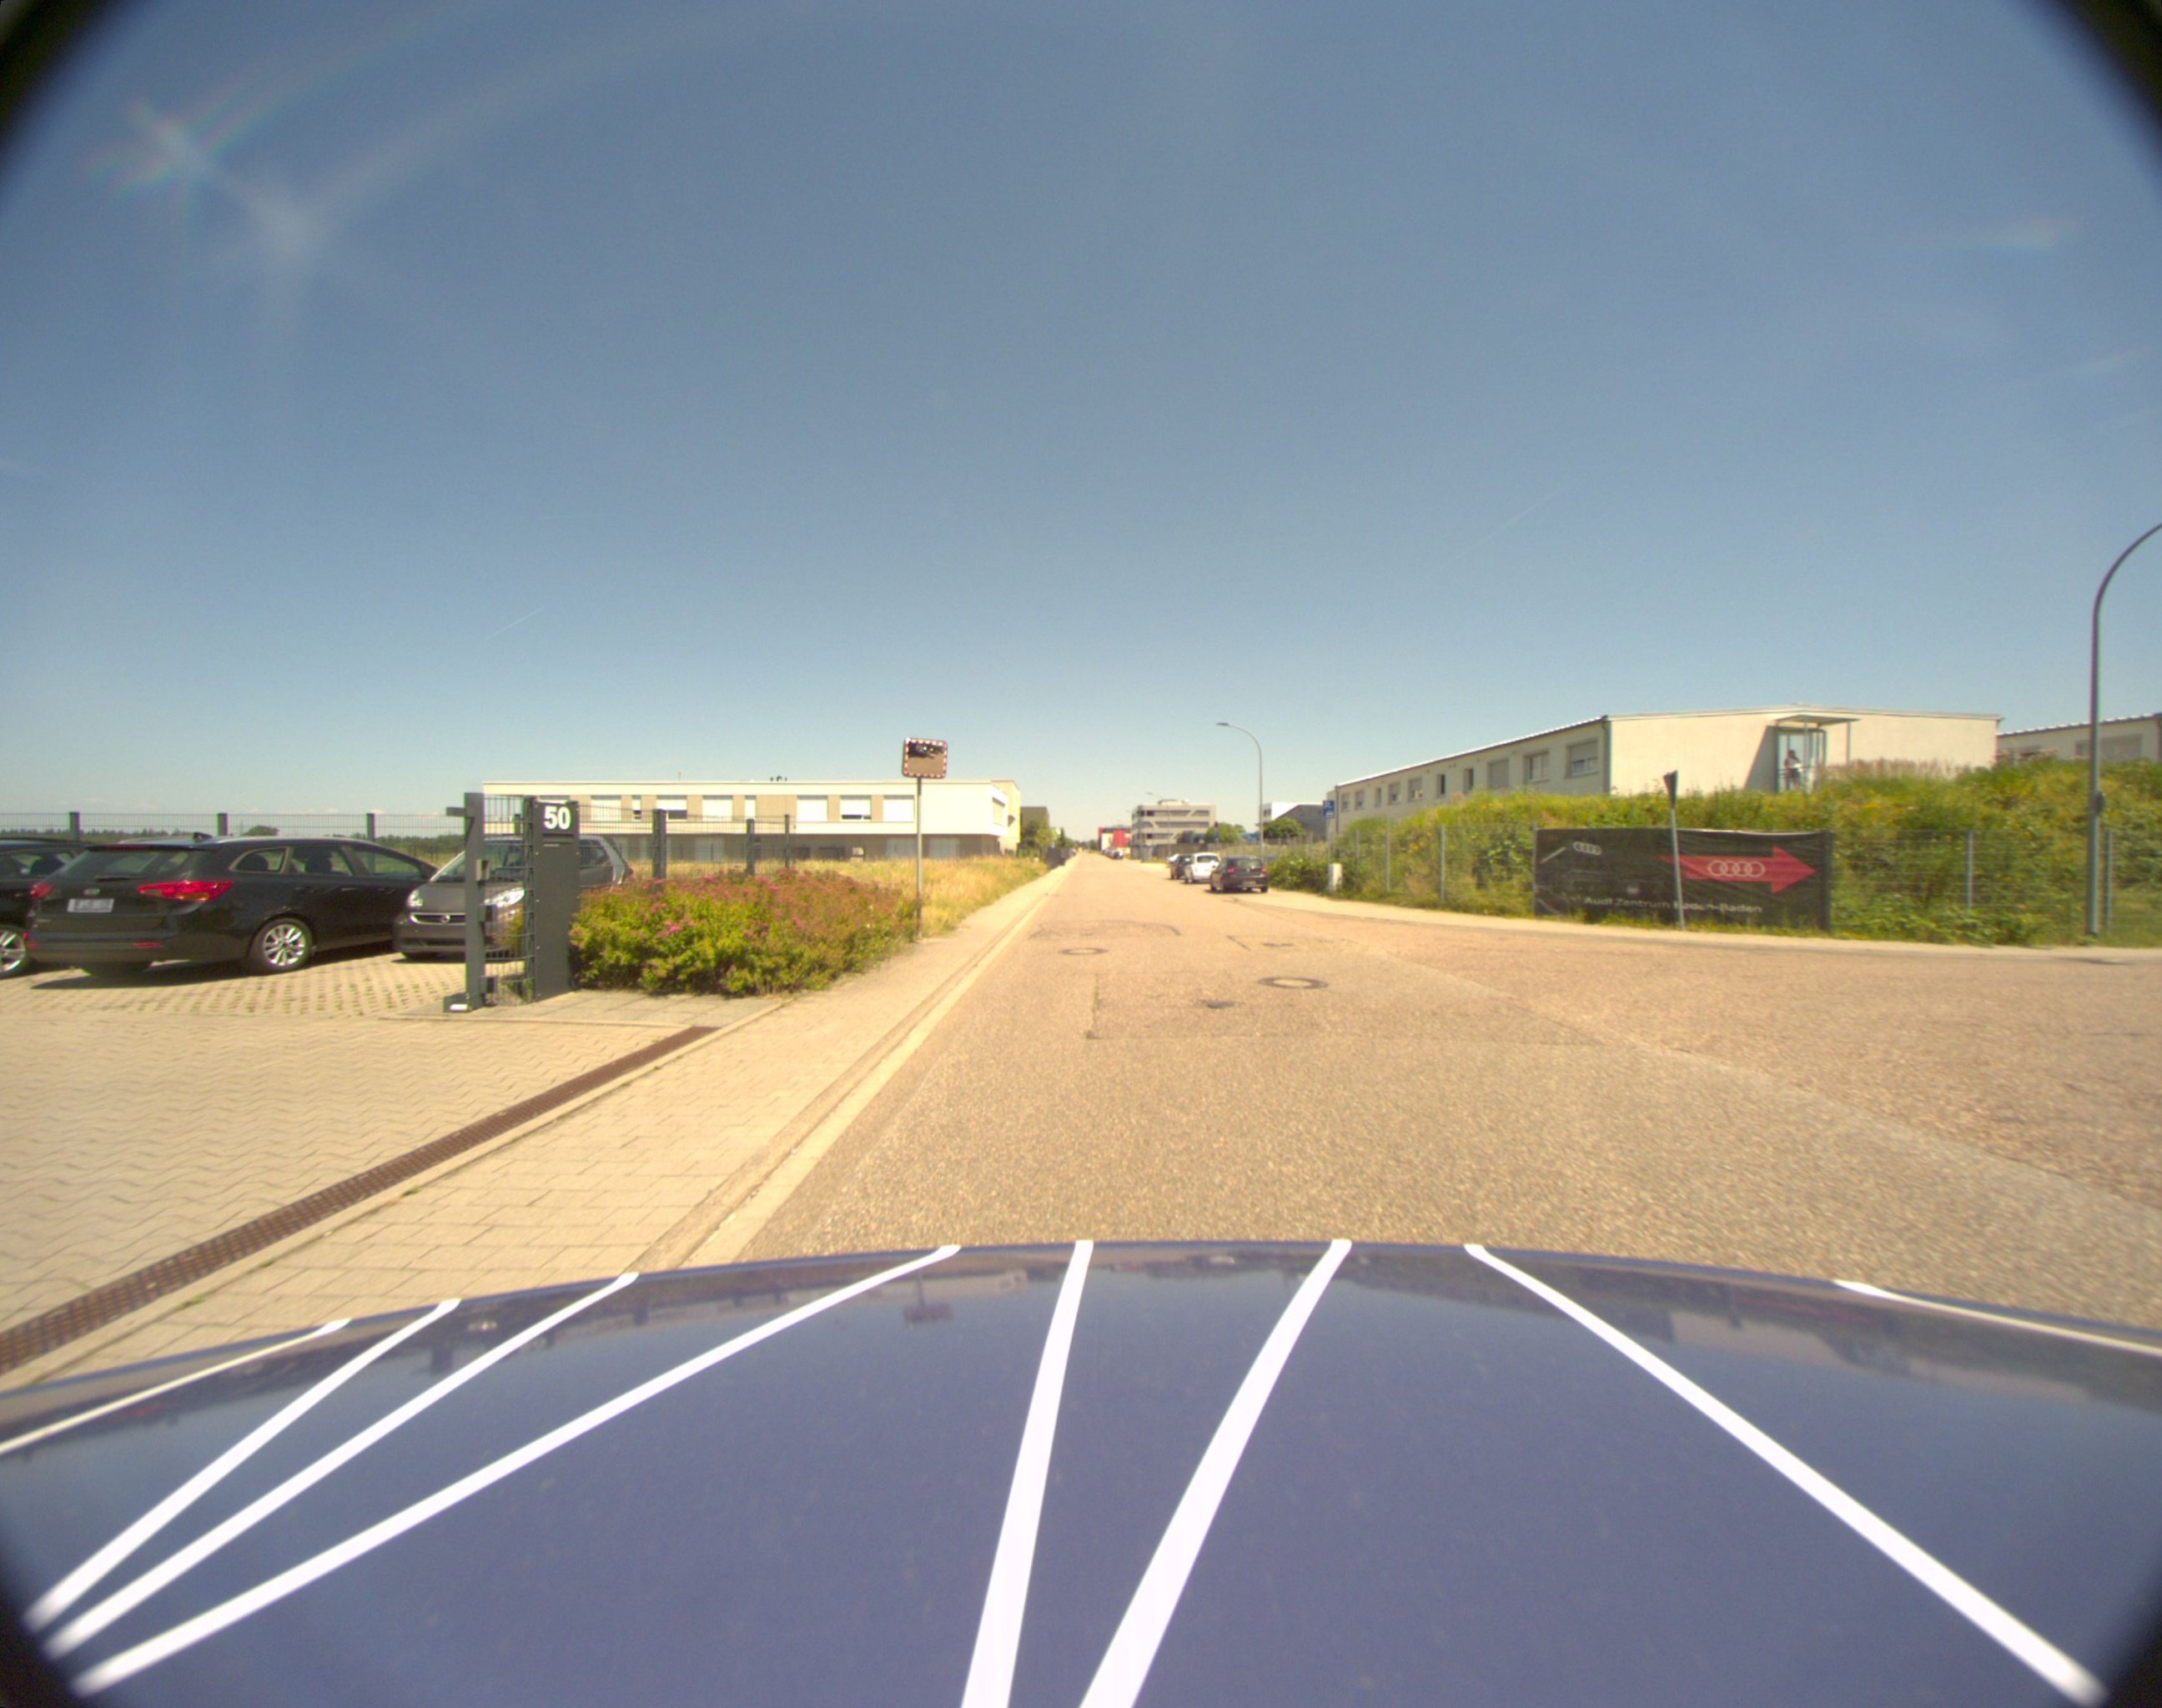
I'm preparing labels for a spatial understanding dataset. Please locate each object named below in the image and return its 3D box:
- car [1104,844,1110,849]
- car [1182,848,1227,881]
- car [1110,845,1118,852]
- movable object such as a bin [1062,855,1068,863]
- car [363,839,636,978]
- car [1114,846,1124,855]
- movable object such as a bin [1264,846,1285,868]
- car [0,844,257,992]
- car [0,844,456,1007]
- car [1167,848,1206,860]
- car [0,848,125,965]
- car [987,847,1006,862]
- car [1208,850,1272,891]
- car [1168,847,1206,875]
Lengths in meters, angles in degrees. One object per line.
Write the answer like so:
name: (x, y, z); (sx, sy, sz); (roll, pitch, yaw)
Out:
car: (7.670, -2.175, 222.592); (1.772, 1.521, 3.777); (-2, 1, 1)
car: (6.251, 0.499, 38.884); (1.678, 1.521, 3.757); (2, 1, 0)
car: (7.607, -1.372, 176.062); (1.772, 1.521, 3.777); (-2, 1, 1)
movable object such as a bin: (-1.941, 0.613, 93.341); (0.749, 1.042, 0.698); (1, 2, 1)
car: (-7.325, 0.590, 9.890); (1.470, 1.565, 2.661); (0, 1, 0)
car: (7.083, -0.664, 140.392); (1.695, 1.482, 3.660); (-2, 1, 1)
movable object such as a bin: (13.406, 0.210, 52.660); (1.146, 1.440, 1.434); (-1, 1, 3)
car: (-11.767, 0.644, 8.474); (1.518, 1.487, 3.331); (0, 1, -1)
car: (-9.268, 0.639, 8.668); (1.518, 1.487, 3.331); (0, 1, -1)
car: (12.127, -0.044, 87.422); (4.257, 1.371, 1.862); (0, 1, 2)
car: (-13.914, 0.659, 8.794); (1.461, 1.404, 3.331); (0, 1, -1)
car: (-9.051, 0.083, 81.496); (1.673, 1.548, 4.077); (0, -1, -2)
car: (6.136, 0.592, 29.798); (1.678, 1.442, 4.068); (0, 1, 0)
car: (6.280, 0.407, 45.392); (1.678, 1.521, 3.909); (-1, 1, 0)
